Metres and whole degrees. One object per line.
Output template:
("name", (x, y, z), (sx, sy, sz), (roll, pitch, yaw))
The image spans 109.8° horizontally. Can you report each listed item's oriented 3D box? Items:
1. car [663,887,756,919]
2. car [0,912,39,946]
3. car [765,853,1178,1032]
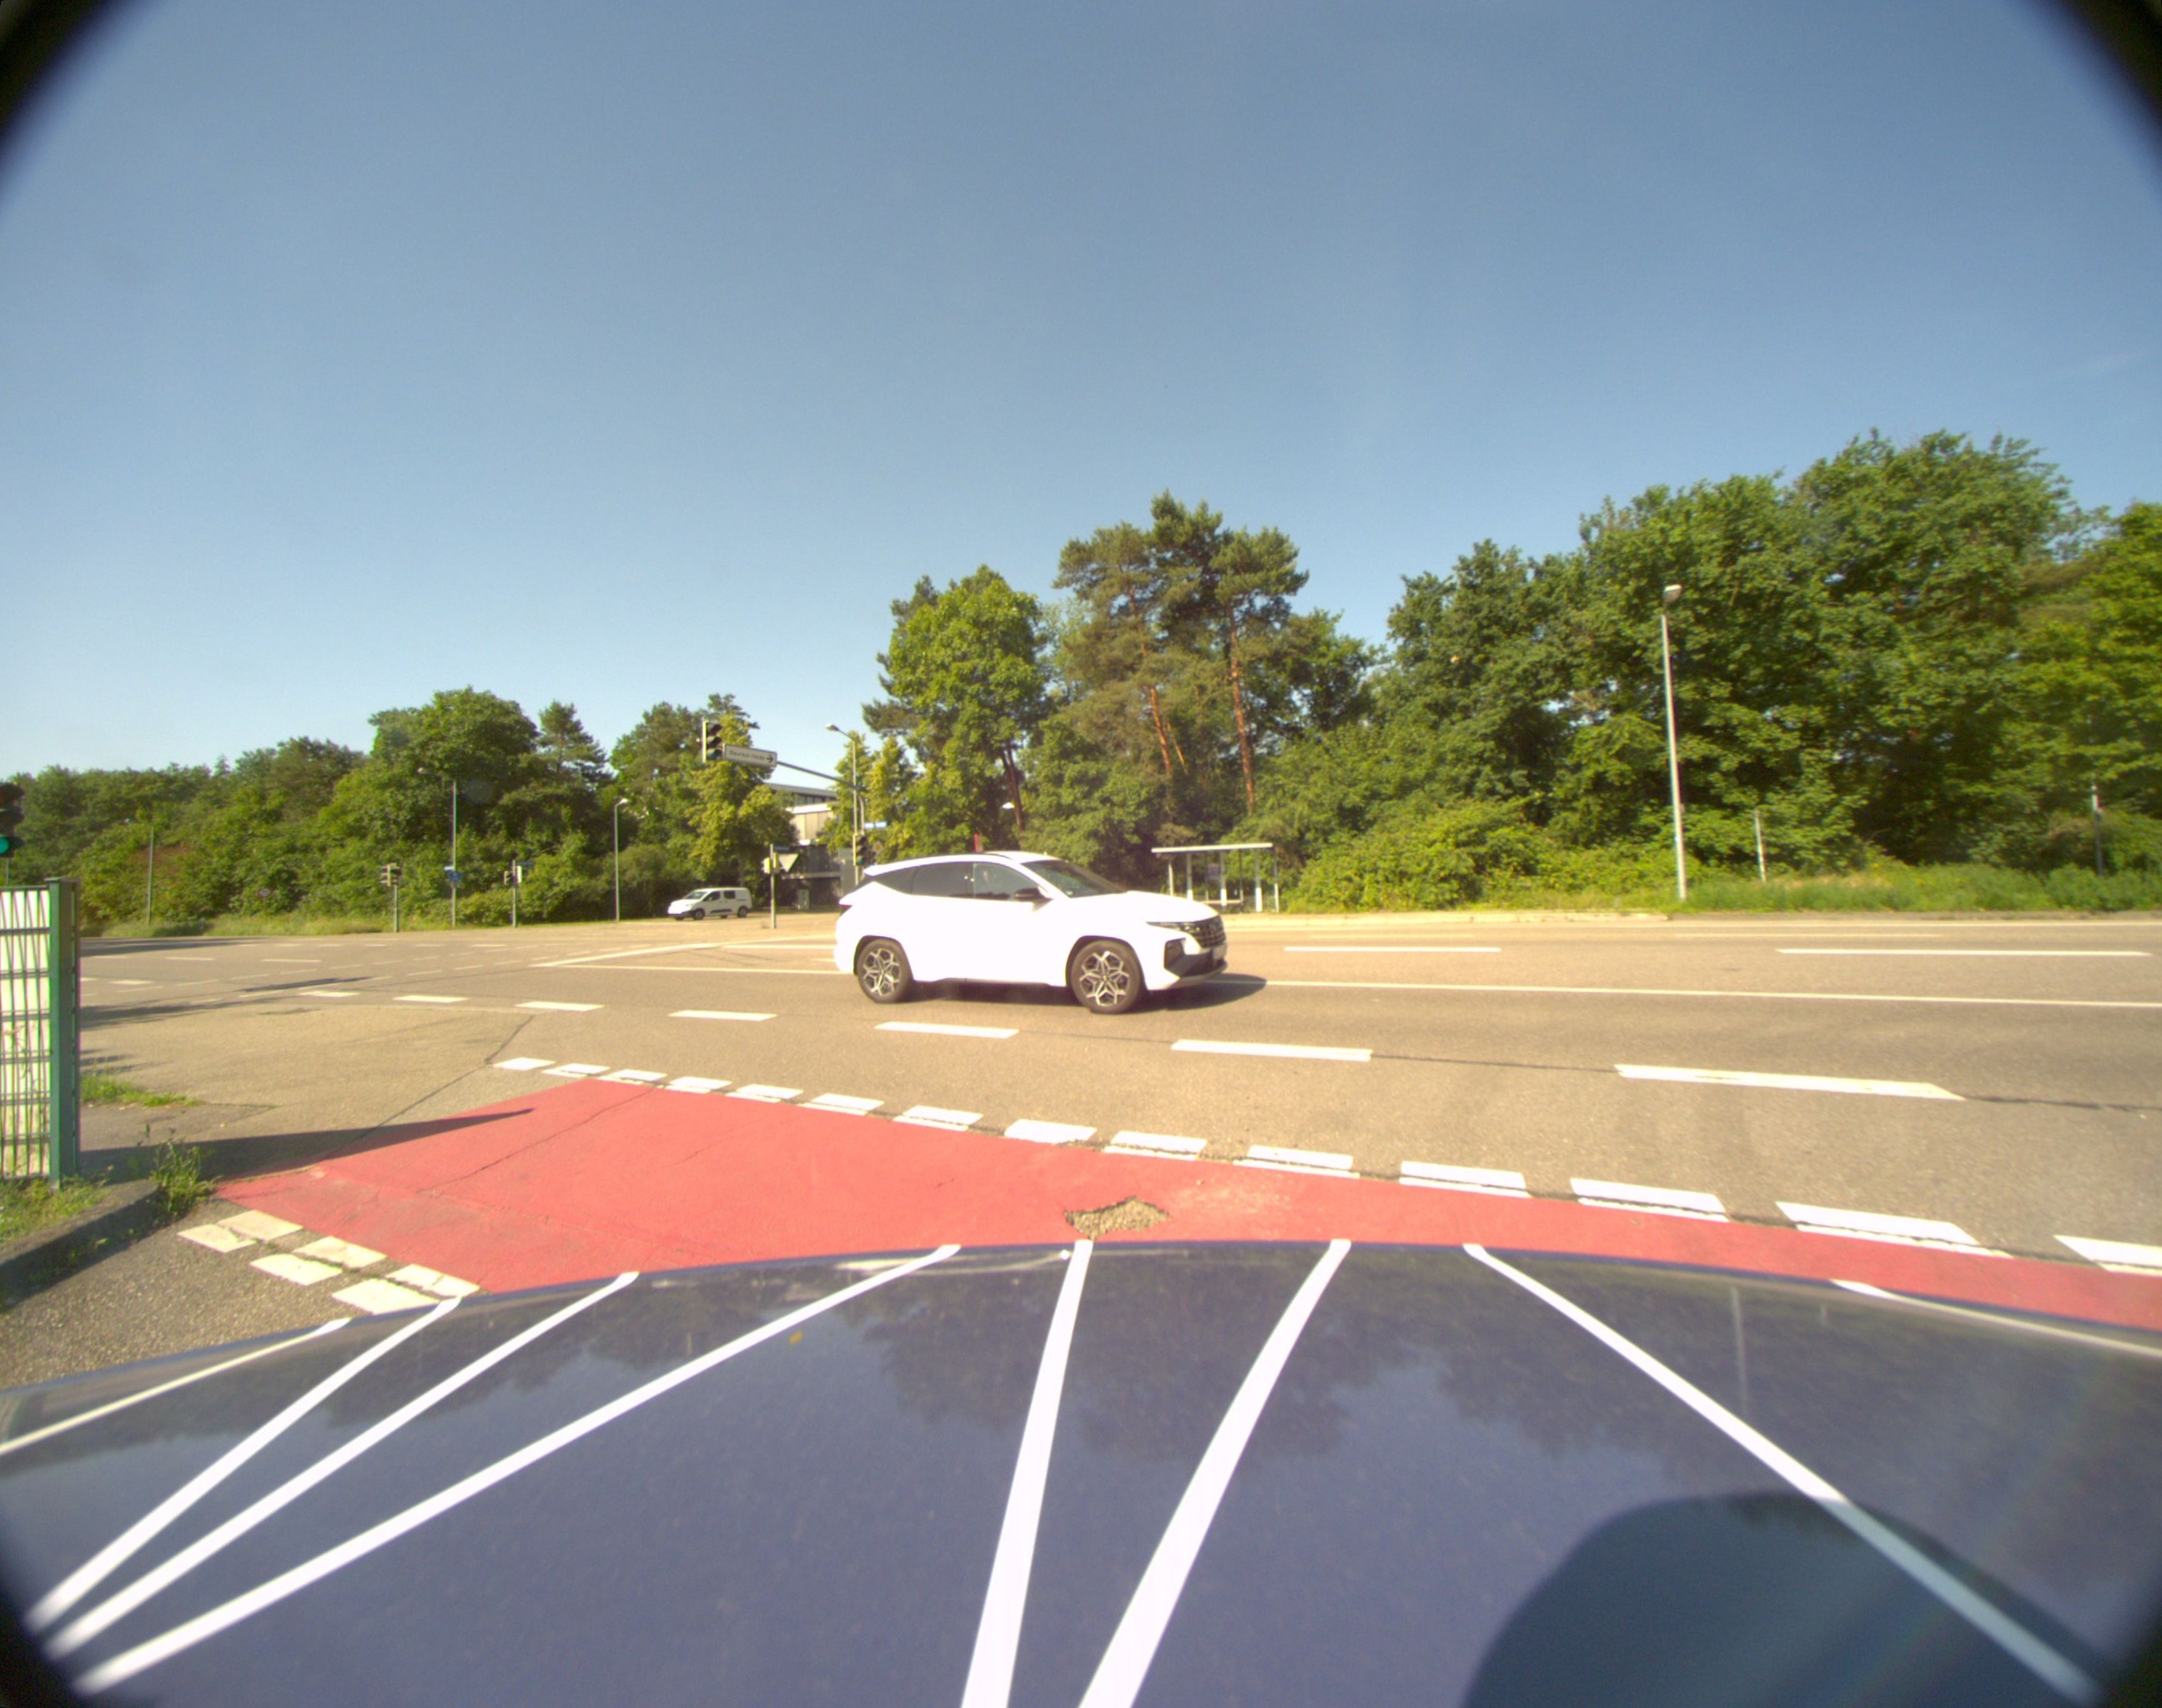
("car", (-21.455, 2.794, 44.100), (1.848, 1.766, 4.671), (-2, -3, 26))
("car", (-48.246, 3.361, 33.550), (4.412, 1.416, 1.793), (-3, 0, 25))
("car", (-1.259, 0.915, 8.695), (4.297, 1.638, 1.817), (-3, 0, 23))
